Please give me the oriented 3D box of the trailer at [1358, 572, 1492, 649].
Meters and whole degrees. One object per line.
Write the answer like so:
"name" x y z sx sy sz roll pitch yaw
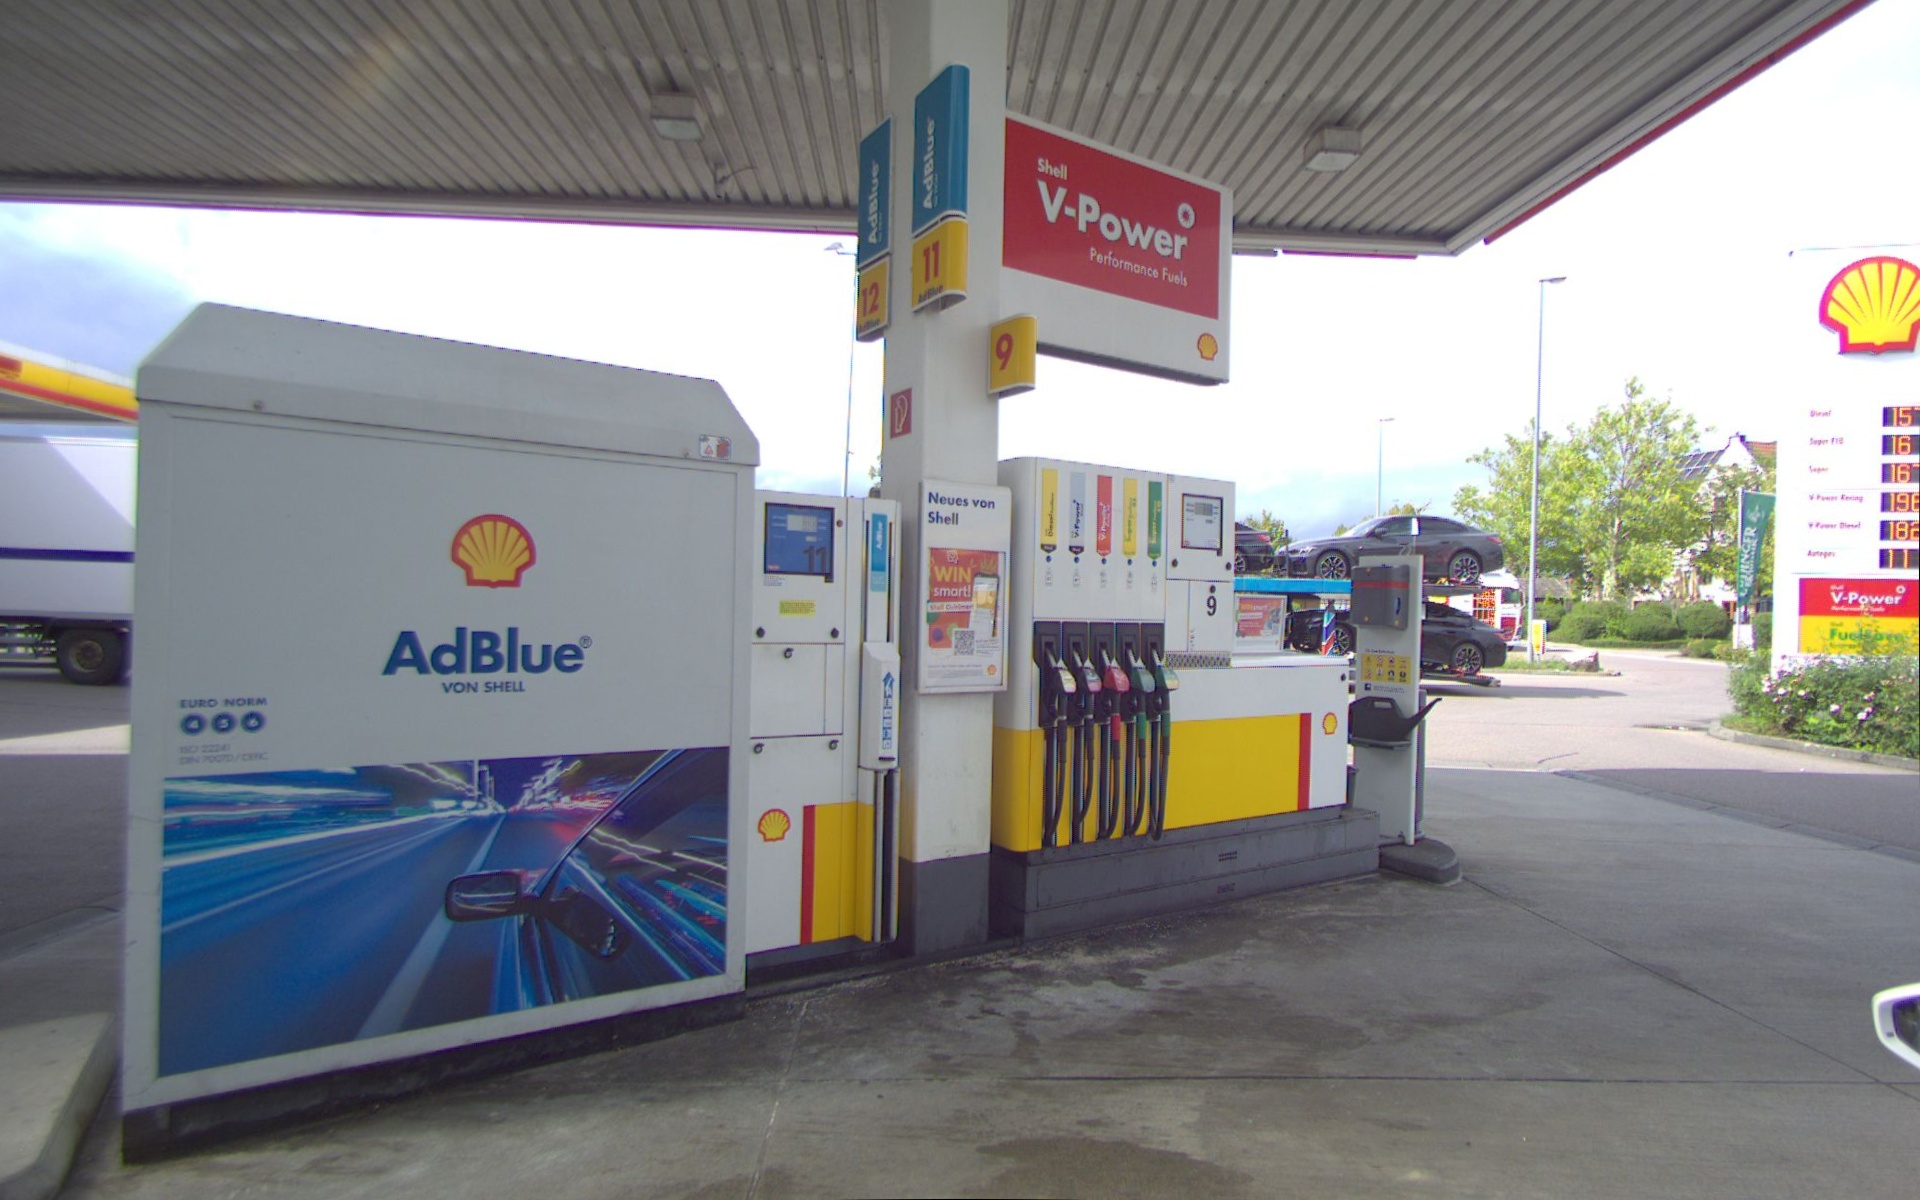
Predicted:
"trailer" 26.241 0.582 57.607 2.684 3.826 12.718 2 0 5

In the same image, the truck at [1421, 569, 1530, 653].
"truck" 25.657 0.529 50.311 2.686 3.897 5.921 2 0 5

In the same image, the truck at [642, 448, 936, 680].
"truck" -3.456 -0.709 21.545 5.713 4.479 2.750 2 0 0

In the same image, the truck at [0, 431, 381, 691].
"truck" -17.307 -0.743 17.499 12.654 4.092 2.534 2 0 -3

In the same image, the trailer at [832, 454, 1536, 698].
"trailer" 4.520 -0.472 21.584 14.077 4.481 2.746 2 0 0
